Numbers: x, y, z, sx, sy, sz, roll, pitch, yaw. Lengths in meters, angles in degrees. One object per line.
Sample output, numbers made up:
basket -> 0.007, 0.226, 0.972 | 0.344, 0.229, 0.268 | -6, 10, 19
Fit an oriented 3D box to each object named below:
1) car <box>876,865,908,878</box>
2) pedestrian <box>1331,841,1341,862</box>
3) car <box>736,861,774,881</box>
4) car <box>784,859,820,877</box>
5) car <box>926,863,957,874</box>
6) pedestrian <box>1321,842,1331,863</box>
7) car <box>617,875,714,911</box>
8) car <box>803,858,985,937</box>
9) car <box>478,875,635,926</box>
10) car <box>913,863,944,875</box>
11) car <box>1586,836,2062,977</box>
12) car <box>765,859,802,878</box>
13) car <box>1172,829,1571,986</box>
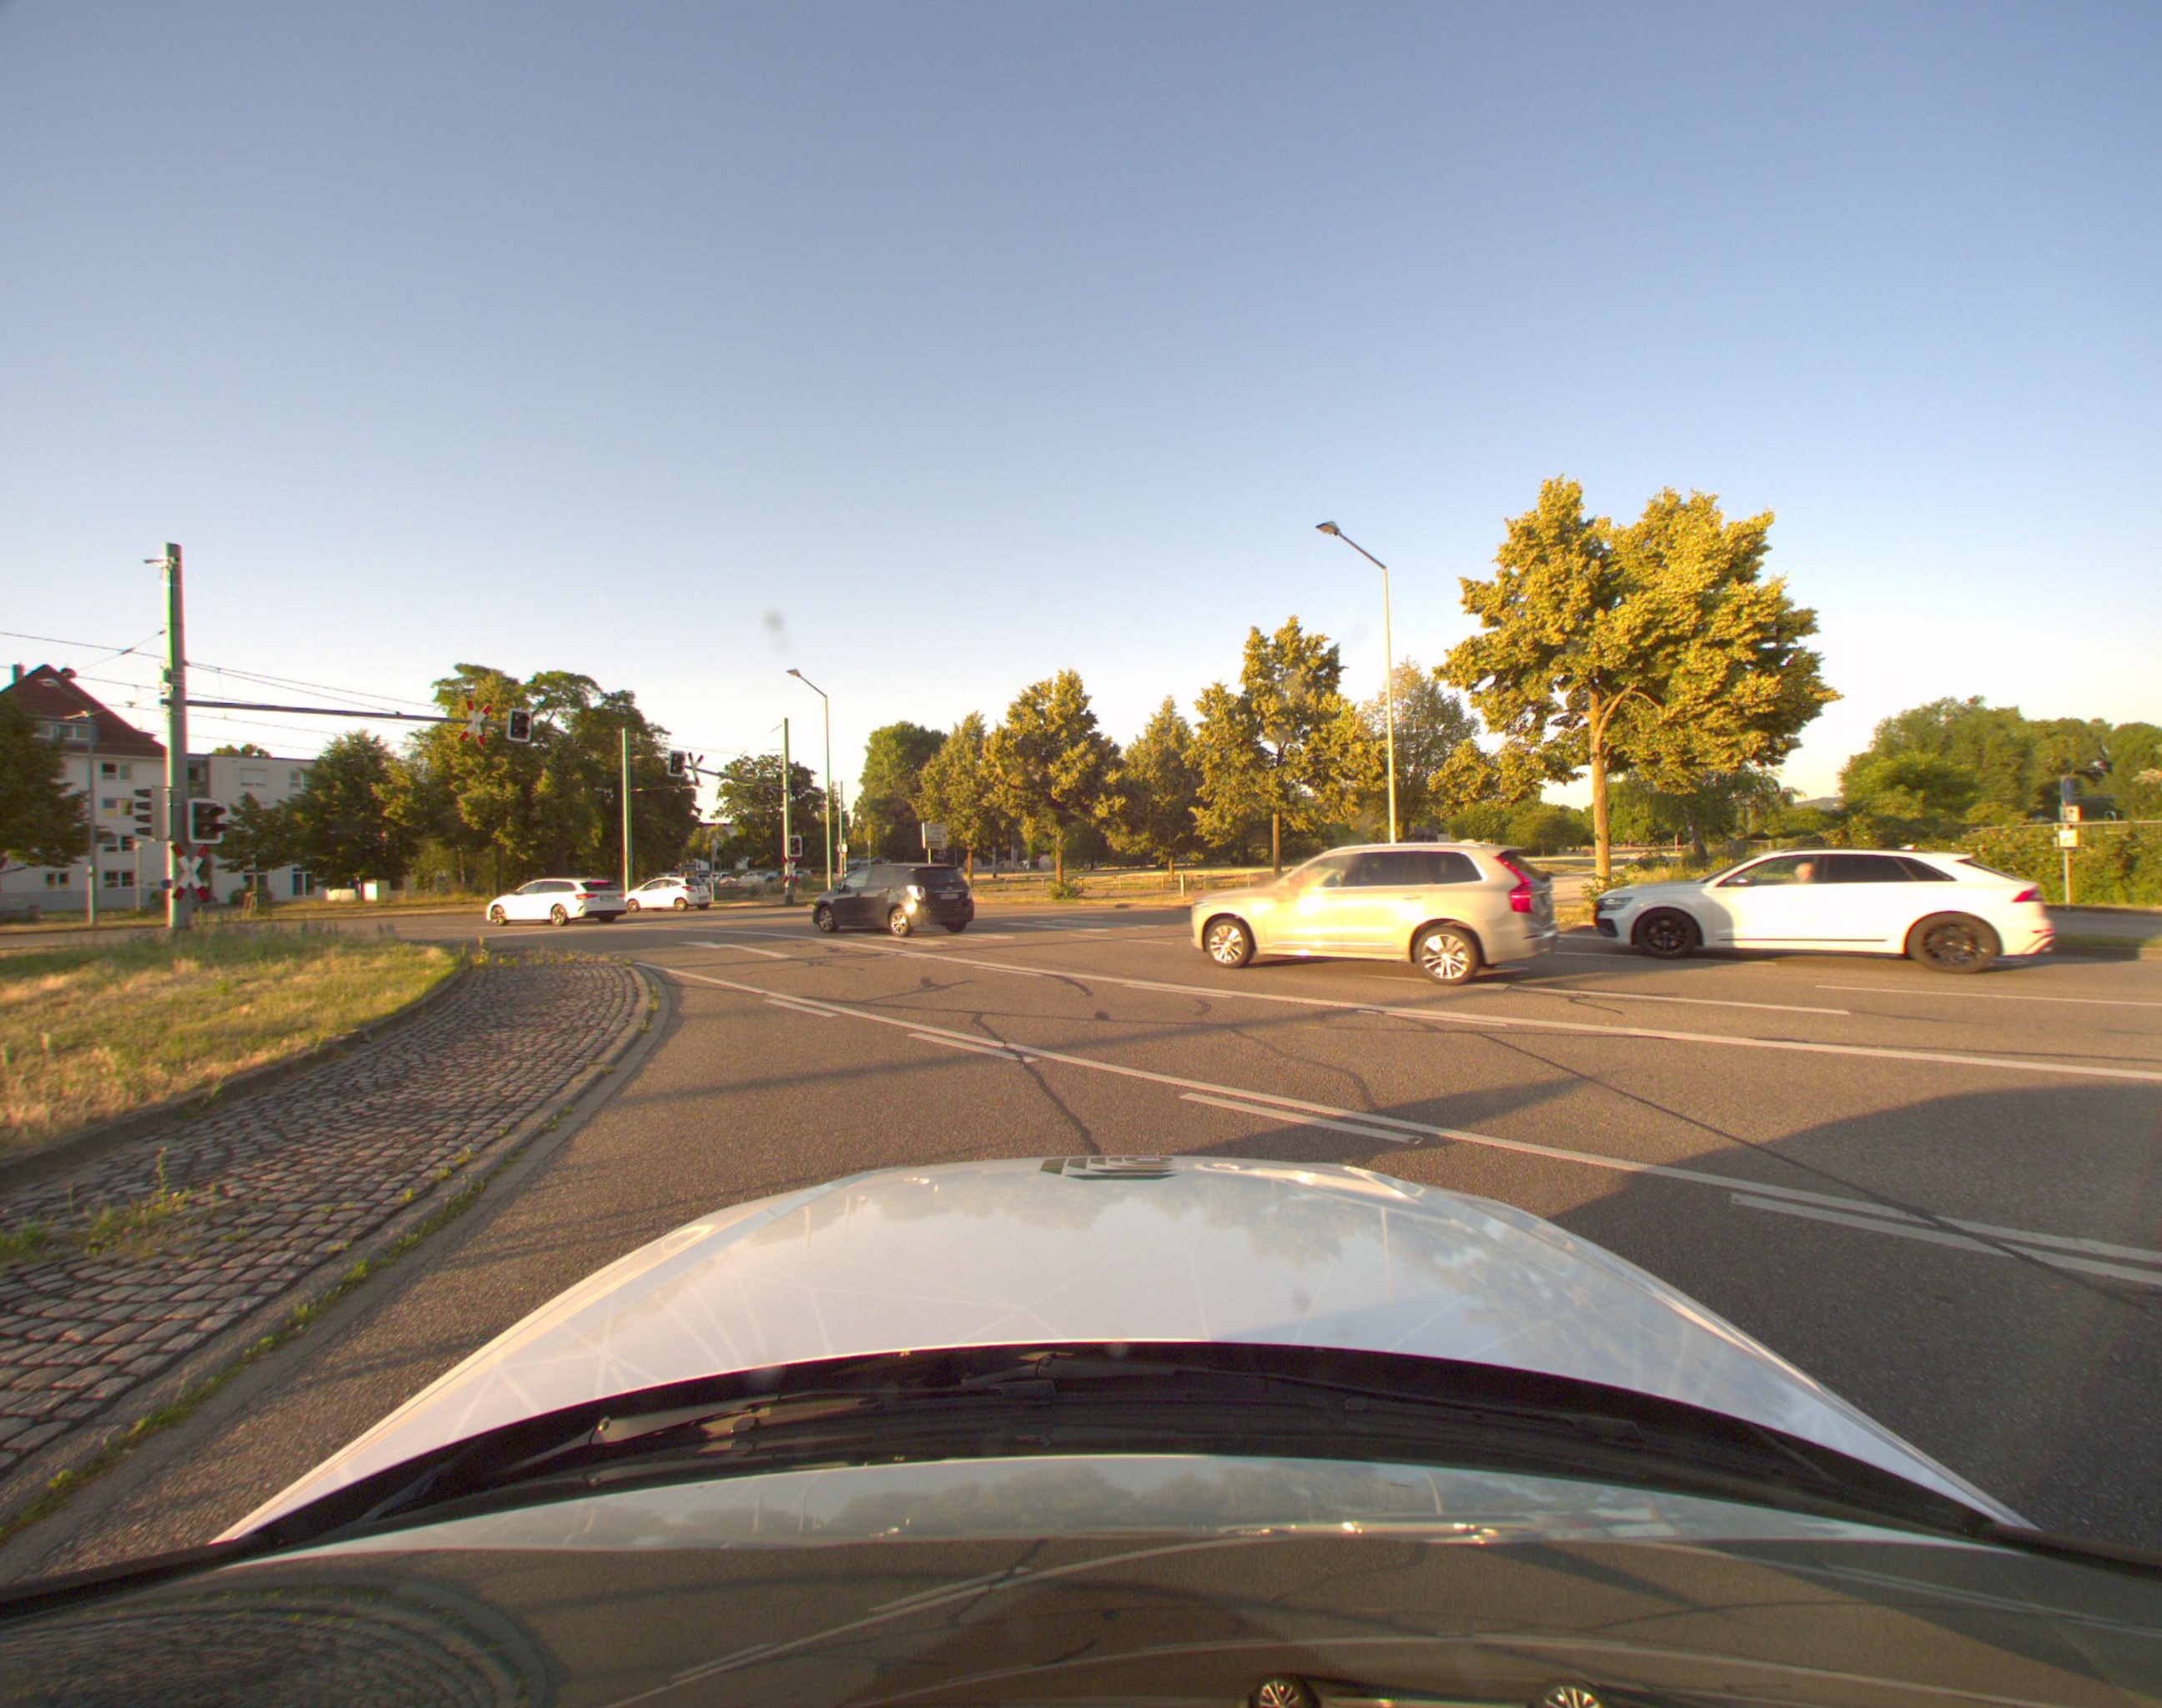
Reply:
car -> -25.255, 2.338, 108.759 | 3.948, 1.551, 2.013 | -2, 0, 33
pedestrian -> 20.289, -0.195, 64.699 | 0.523, 1.626, 0.624 | -2, -1, 41
car -> -36.934, 1.940, 92.262 | 3.948, 2.098, 2.013 | -2, 0, 34
car -> -33.489, 1.665, 97.664 | 3.948, 2.098, 2.013 | -2, 0, 34
car -> -19.995, 2.106, 116.703 | 3.948, 1.551, 2.013 | -2, 0, 33
pedestrian -> 19.508, -0.137, 64.813 | 0.526, 1.626, 0.584 | -2, 0, 40
car -> -17.837, 1.661, 35.021 | 3.453, 1.443, 1.558 | -1, -1, 10
car -> -4.459, 0.970, 19.074 | 4.398, 1.633, 1.815 | -2, -1, 39
car -> -16.462, 1.457, 25.549 | 4.496, 1.448, 1.736 | -2, 0, 21
car -> -21.526, 2.161, 114.903 | 3.948, 1.551, 2.013 | -2, 0, 33
car -> 10.431, 0.644, 12.058 | 4.877, 1.710, 1.926 | -1, 0, 36
car -> -34.723, 1.748, 95.097 | 3.948, 2.098, 2.013 | -2, 0, 34
car -> 3.887, 0.664, 11.372 | 4.857, 1.754, 1.935 | -2, -1, 37
